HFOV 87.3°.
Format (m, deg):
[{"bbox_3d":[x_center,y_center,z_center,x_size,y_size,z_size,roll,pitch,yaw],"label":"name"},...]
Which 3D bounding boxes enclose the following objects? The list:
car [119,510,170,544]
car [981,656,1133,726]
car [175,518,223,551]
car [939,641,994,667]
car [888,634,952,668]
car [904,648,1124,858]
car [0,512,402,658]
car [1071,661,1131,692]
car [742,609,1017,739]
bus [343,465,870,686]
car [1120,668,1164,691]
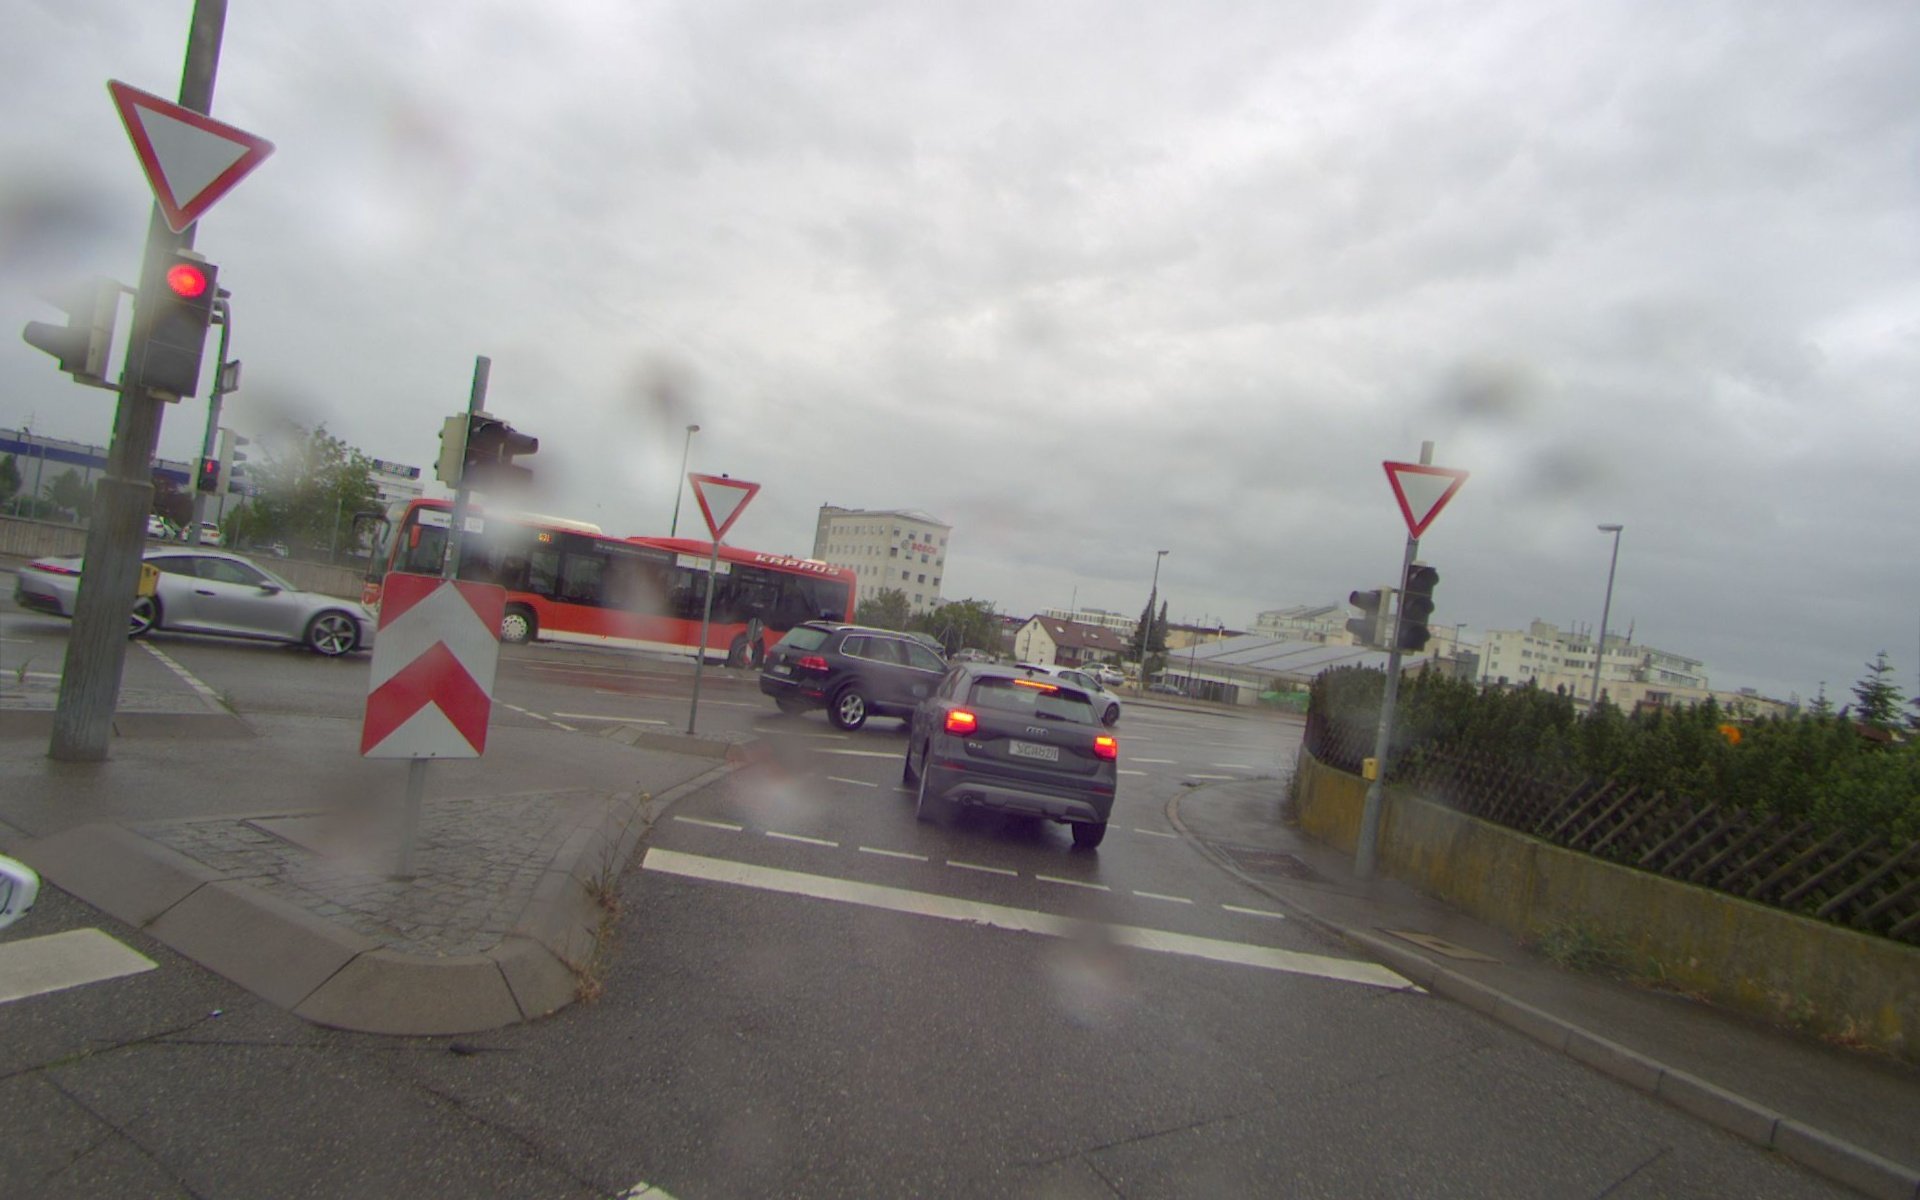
[{"bbox_3d":[-45.618,-4.094,56.354,1.985,1.494,3.959,10,-2,-38],"label":"car"},{"bbox_3d":[2.782,2.582,28.276,4.131,1.432,1.903,11,-3,-44],"label":"car"},{"bbox_3d":[-43.899,-3.767,58.022,1.986,1.494,3.958,10,-2,-38],"label":"car"},{"bbox_3d":[0.536,4.434,82.222,3.951,1.494,1.989,9,-2,-24],"label":"car"},{"bbox_3d":[-2.477,3.136,61.953,1.983,1.494,3.964,10,-2,-34],"label":"car"},{"bbox_3d":[0.355,1.419,10.521,1.659,1.510,3.943,10,-4,-3],"label":"car"},{"bbox_3d":[-10.877,-0.152,14.610,1.833,1.374,4.426,7,-3,44],"label":"car"},{"bbox_3d":[9.778,5.309,69.965,1.979,1.494,3.971,9,-2,-29],"label":"car"},{"bbox_3d":[-1.332,1.389,18.122,4.587,1.721,1.975,10,-3,-44],"label":"car"},{"bbox_3d":[-8.314,-0.256,25.804,12.245,3.357,3.040,12,-3,-41],"label":"bus"},{"bbox_3d":[18.110,7.899,100.011,3.760,1.771,1.887,9,-2,-29],"label":"car"}]
